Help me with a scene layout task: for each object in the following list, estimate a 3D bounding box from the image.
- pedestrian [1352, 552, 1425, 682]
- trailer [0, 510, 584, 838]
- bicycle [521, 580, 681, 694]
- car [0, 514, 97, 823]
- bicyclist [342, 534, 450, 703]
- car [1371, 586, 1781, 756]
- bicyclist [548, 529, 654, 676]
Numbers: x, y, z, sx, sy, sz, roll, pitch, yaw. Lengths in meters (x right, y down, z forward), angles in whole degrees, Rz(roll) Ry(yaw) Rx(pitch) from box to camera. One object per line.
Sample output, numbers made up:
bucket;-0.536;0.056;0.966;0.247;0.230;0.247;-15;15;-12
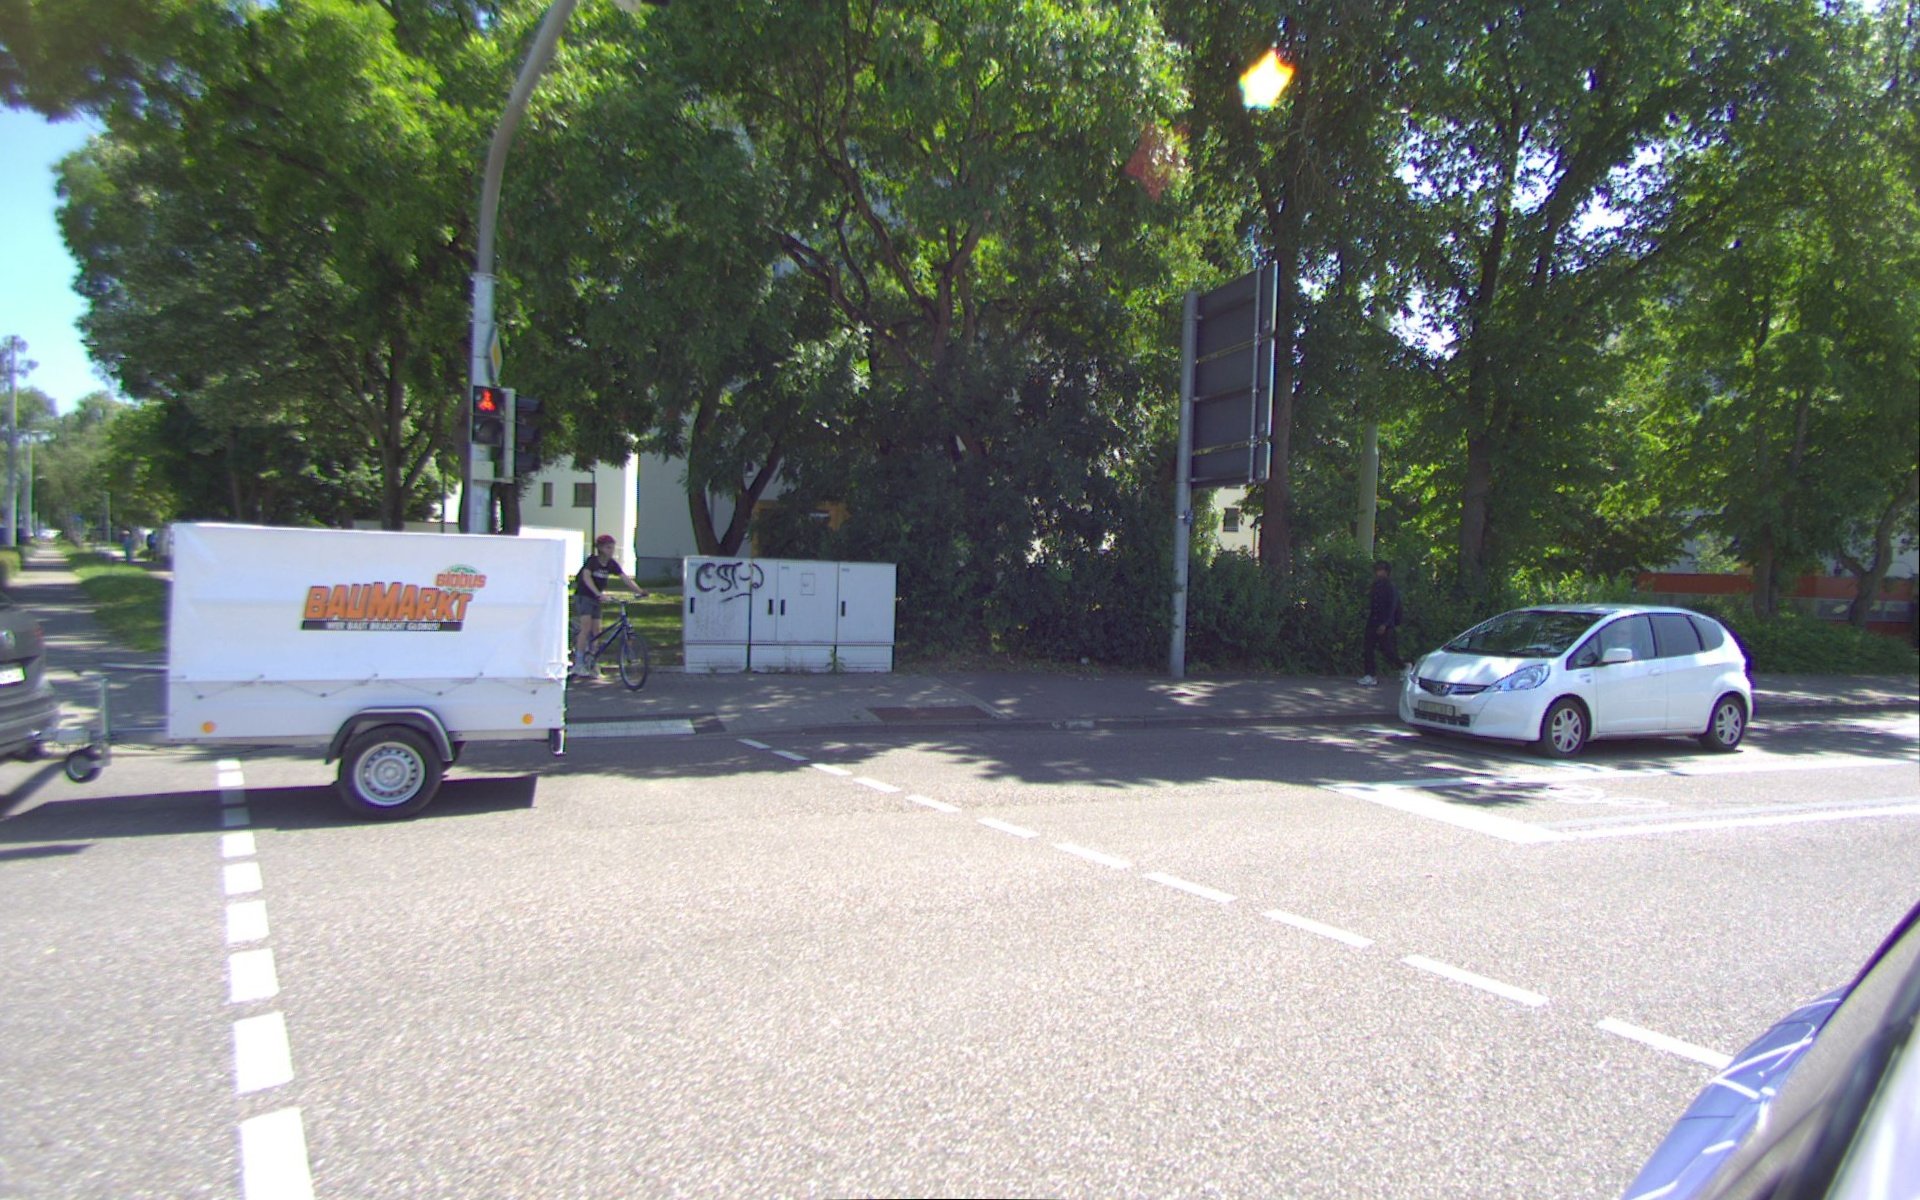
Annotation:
pedestrian;6.299;0.241;14.900;0.665;1.857;0.609;1;3;-23
trailer;-3.914;0.377;6.327;2.876;1.675;1.412;1;1;-22
bicycle;-4.122;0.388;11.590;1.787;1.075;0.611;5;4;24
car;-7.314;0.332;4.982;4.315;1.679;1.735;1;1;-21
bicyclist;-5.268;0.148;9.456;0.622;1.485;0.611;5;4;24
car;6.527;0.681;10.761;3.816;1.523;1.735;1;1;-22
bicyclist;-4.094;0.004;11.552;0.900;1.562;0.642;5;4;24
